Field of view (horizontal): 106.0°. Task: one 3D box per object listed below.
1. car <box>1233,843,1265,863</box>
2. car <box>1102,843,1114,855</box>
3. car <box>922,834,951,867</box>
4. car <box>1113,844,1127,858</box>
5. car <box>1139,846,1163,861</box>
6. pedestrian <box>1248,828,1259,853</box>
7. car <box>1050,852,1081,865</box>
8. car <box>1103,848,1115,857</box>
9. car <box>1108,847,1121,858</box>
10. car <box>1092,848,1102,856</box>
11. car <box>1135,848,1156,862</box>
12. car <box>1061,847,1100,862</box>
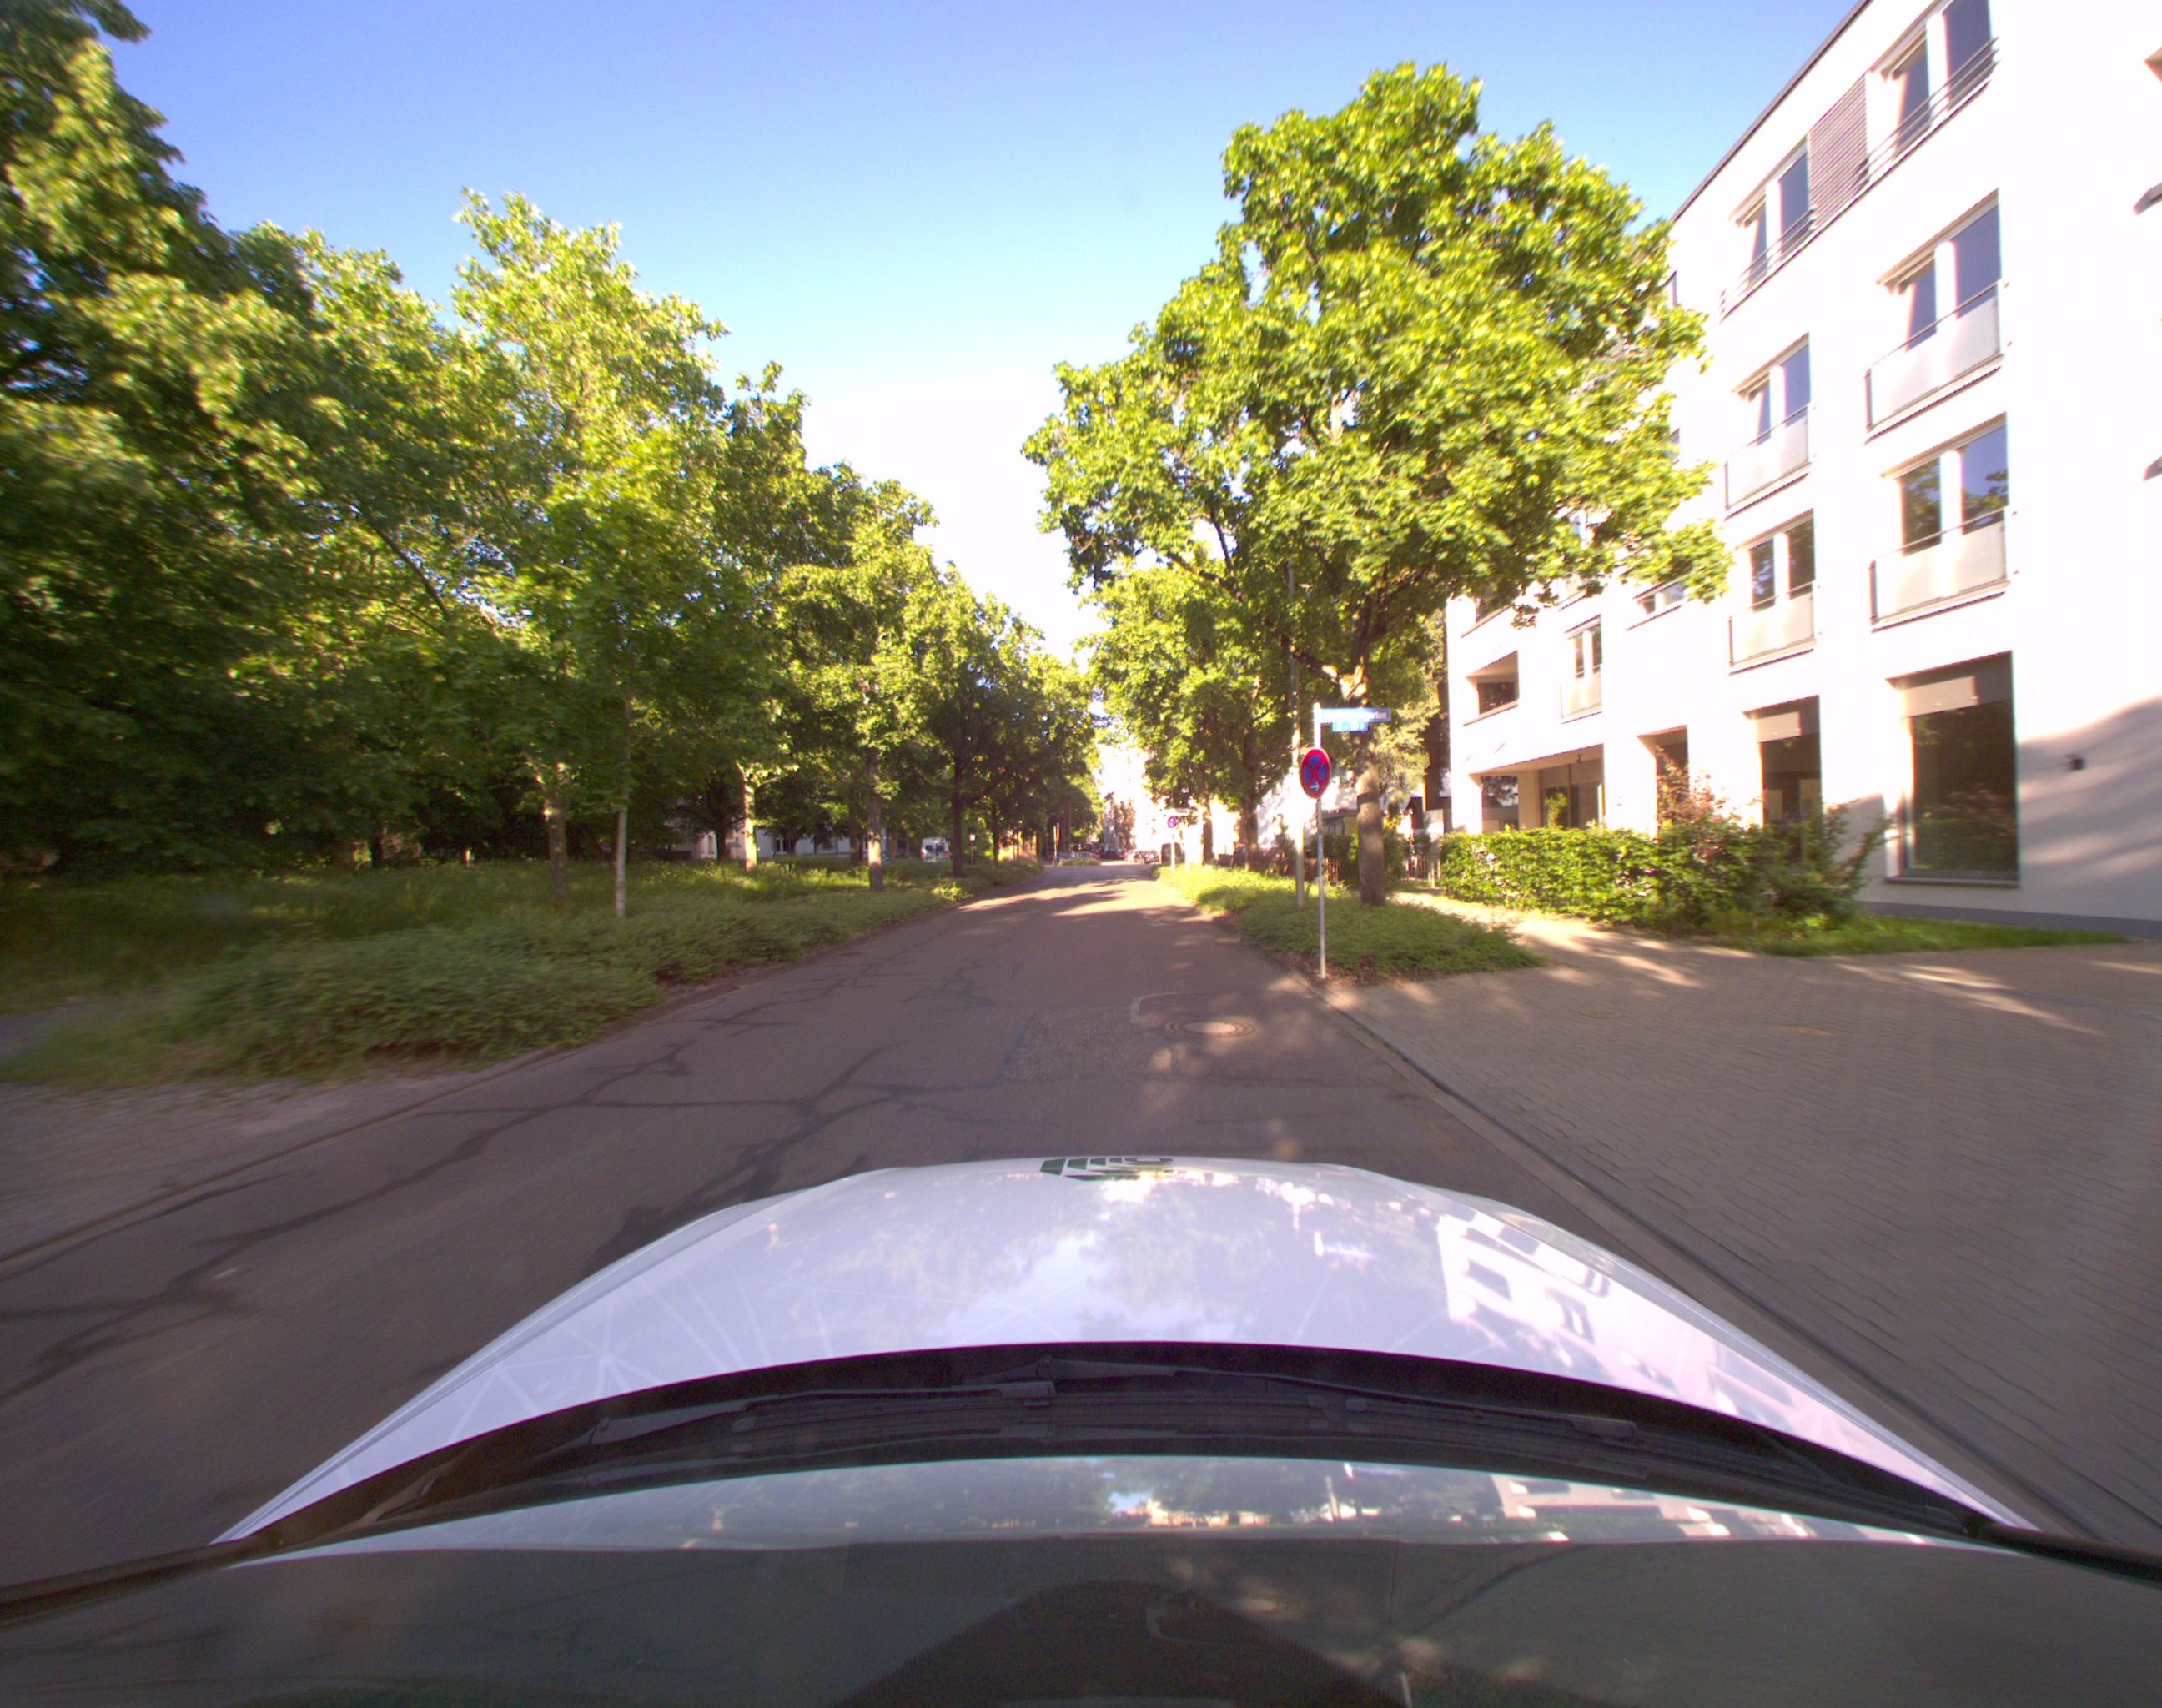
[{"bbox_3d":[13.804,-0.119,67.180,1.986,1.585,3.641,-1,0,2],"label":"car"},{"bbox_3d":[4.626,-0.946,140.989,1.806,2.050,3.998,0,0,-1],"label":"car"},{"bbox_3d":[-11.406,-0.300,64.453,1.991,2.508,3.991,-1,0,-6],"label":"car"},{"bbox_3d":[5.567,-0.420,116.063,1.806,1.925,3.998,0,0,-1],"label":"car"},{"bbox_3d":[7.471,-0.058,87.318,1.808,1.501,3.993,-2,0,-5],"label":"car"},{"bbox_3d":[12.927,-1.010,61.127,0.614,1.870,0.694,0,0,-5],"label":"pedestrian"},{"bbox_3d":[-1.855,0.552,97.649,3.582,1.510,1.497,0,0,-6],"label":"car"},{"bbox_3d":[4.505,-0.259,131.038,1.806,1.501,3.998,0,0,-1],"label":"car"},{"bbox_3d":[5.083,-0.243,124.225,1.806,1.501,3.998,0,0,-1],"label":"car"},{"bbox_3d":[3.140,-0.348,158.030,1.806,1.501,3.998,0,0,-1],"label":"car"},{"bbox_3d":[7.359,0.050,93.569,1.989,1.574,3.997,0,0,-2],"label":"car"},{"bbox_3d":[-0.070,0.062,85.504,3.981,1.501,1.814,0,0,-6],"label":"car"}]
